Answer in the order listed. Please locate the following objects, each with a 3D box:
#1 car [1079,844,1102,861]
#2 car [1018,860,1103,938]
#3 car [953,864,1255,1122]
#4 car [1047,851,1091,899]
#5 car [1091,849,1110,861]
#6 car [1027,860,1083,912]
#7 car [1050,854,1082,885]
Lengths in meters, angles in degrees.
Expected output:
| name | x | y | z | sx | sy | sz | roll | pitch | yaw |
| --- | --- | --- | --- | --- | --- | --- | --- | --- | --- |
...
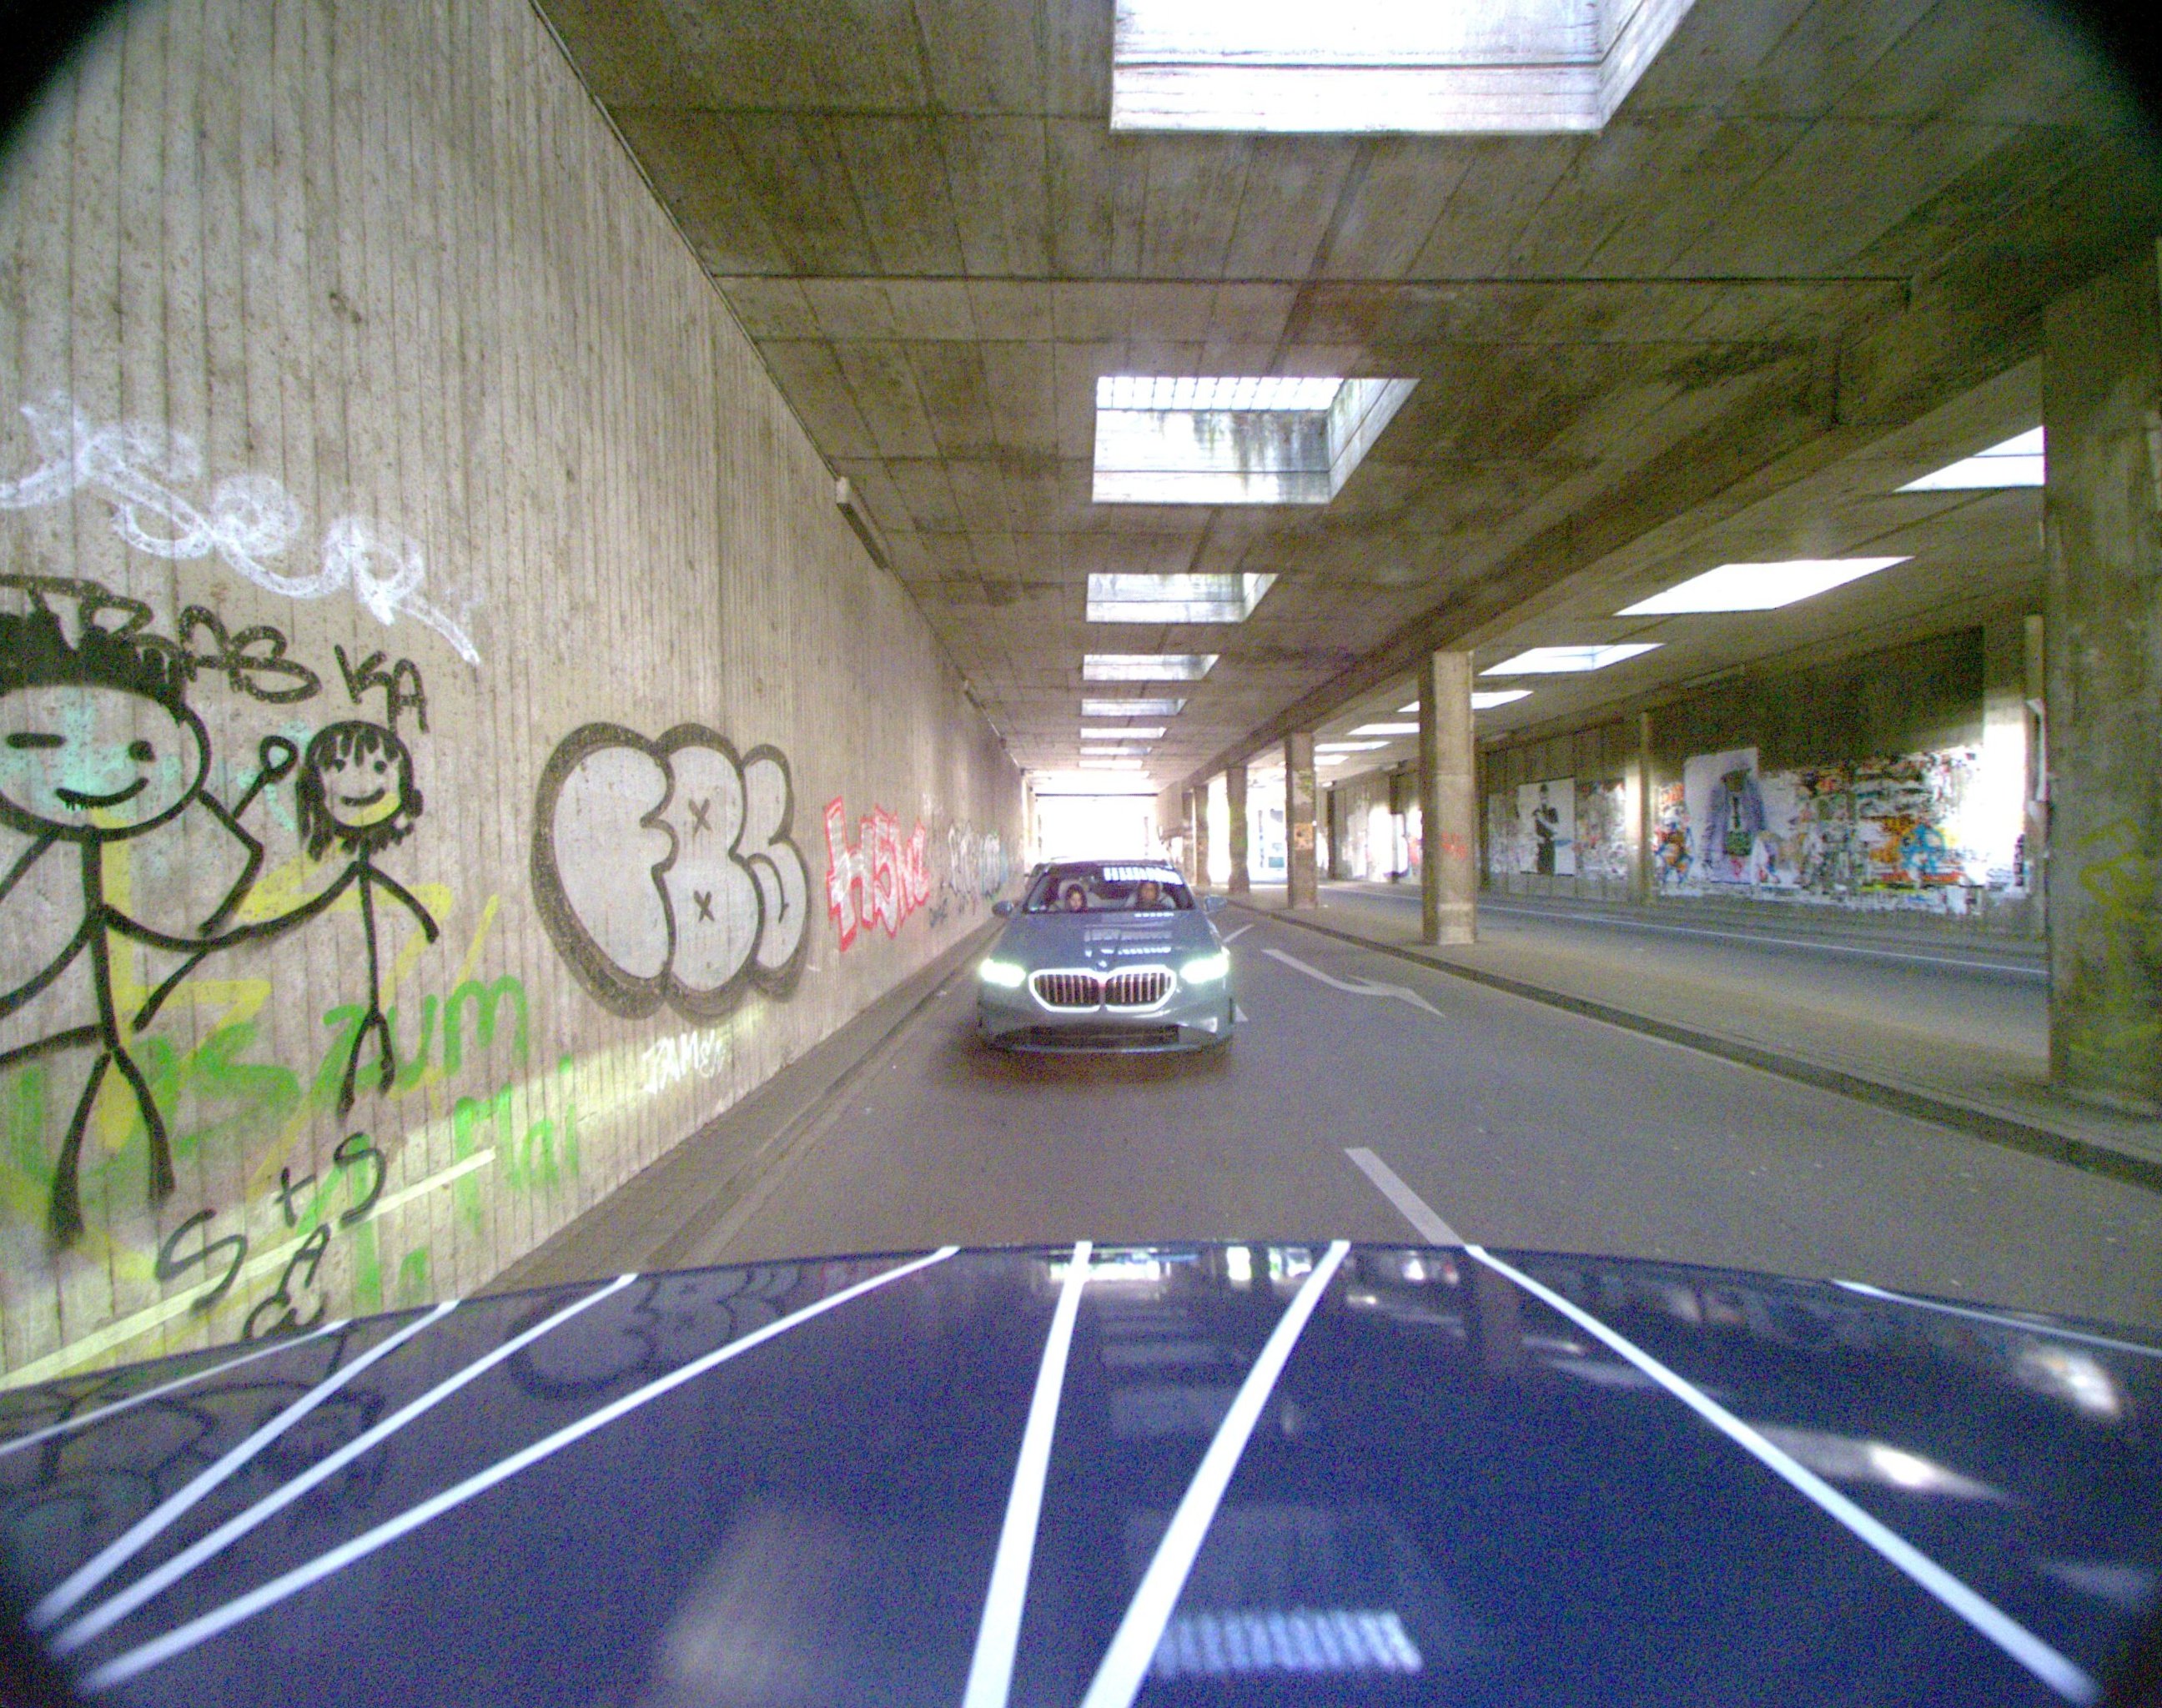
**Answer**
| name | x | y | z | sx | sy | sz | roll | pitch | yaw |
| --- | --- | --- | --- | --- | --- | --- | --- | --- | --- |
| car | 1.293 | -0.190 | 103.684 | 2.161 | 2.150 | 4.785 | -2 | 0 | -12 |
| car | -0.418 | 0.922 | 17.312 | 1.679 | 1.516 | 3.969 | -2 | 0 | 0 |
| car | 0.134 | 0.908 | 7.303 | 1.861 | 1.516 | 5.042 | -2 | 0 | 0 |
| car | -0.455 | 0.773 | 29.945 | 1.592 | 1.711 | 3.694 | -2 | 0 | 0 |
| car | 2.489 | 0.141 | 97.992 | 1.741 | 1.519 | 3.786 | -2 | 0 | -9 |
| car | -0.754 | 0.950 | 23.938 | 1.592 | 1.432 | 3.806 | -2 | 0 | 0 |
| car | -0.798 | 0.807 | 41.272 | 1.592 | 1.562 | 3.694 | -2 | 0 | 0 |
